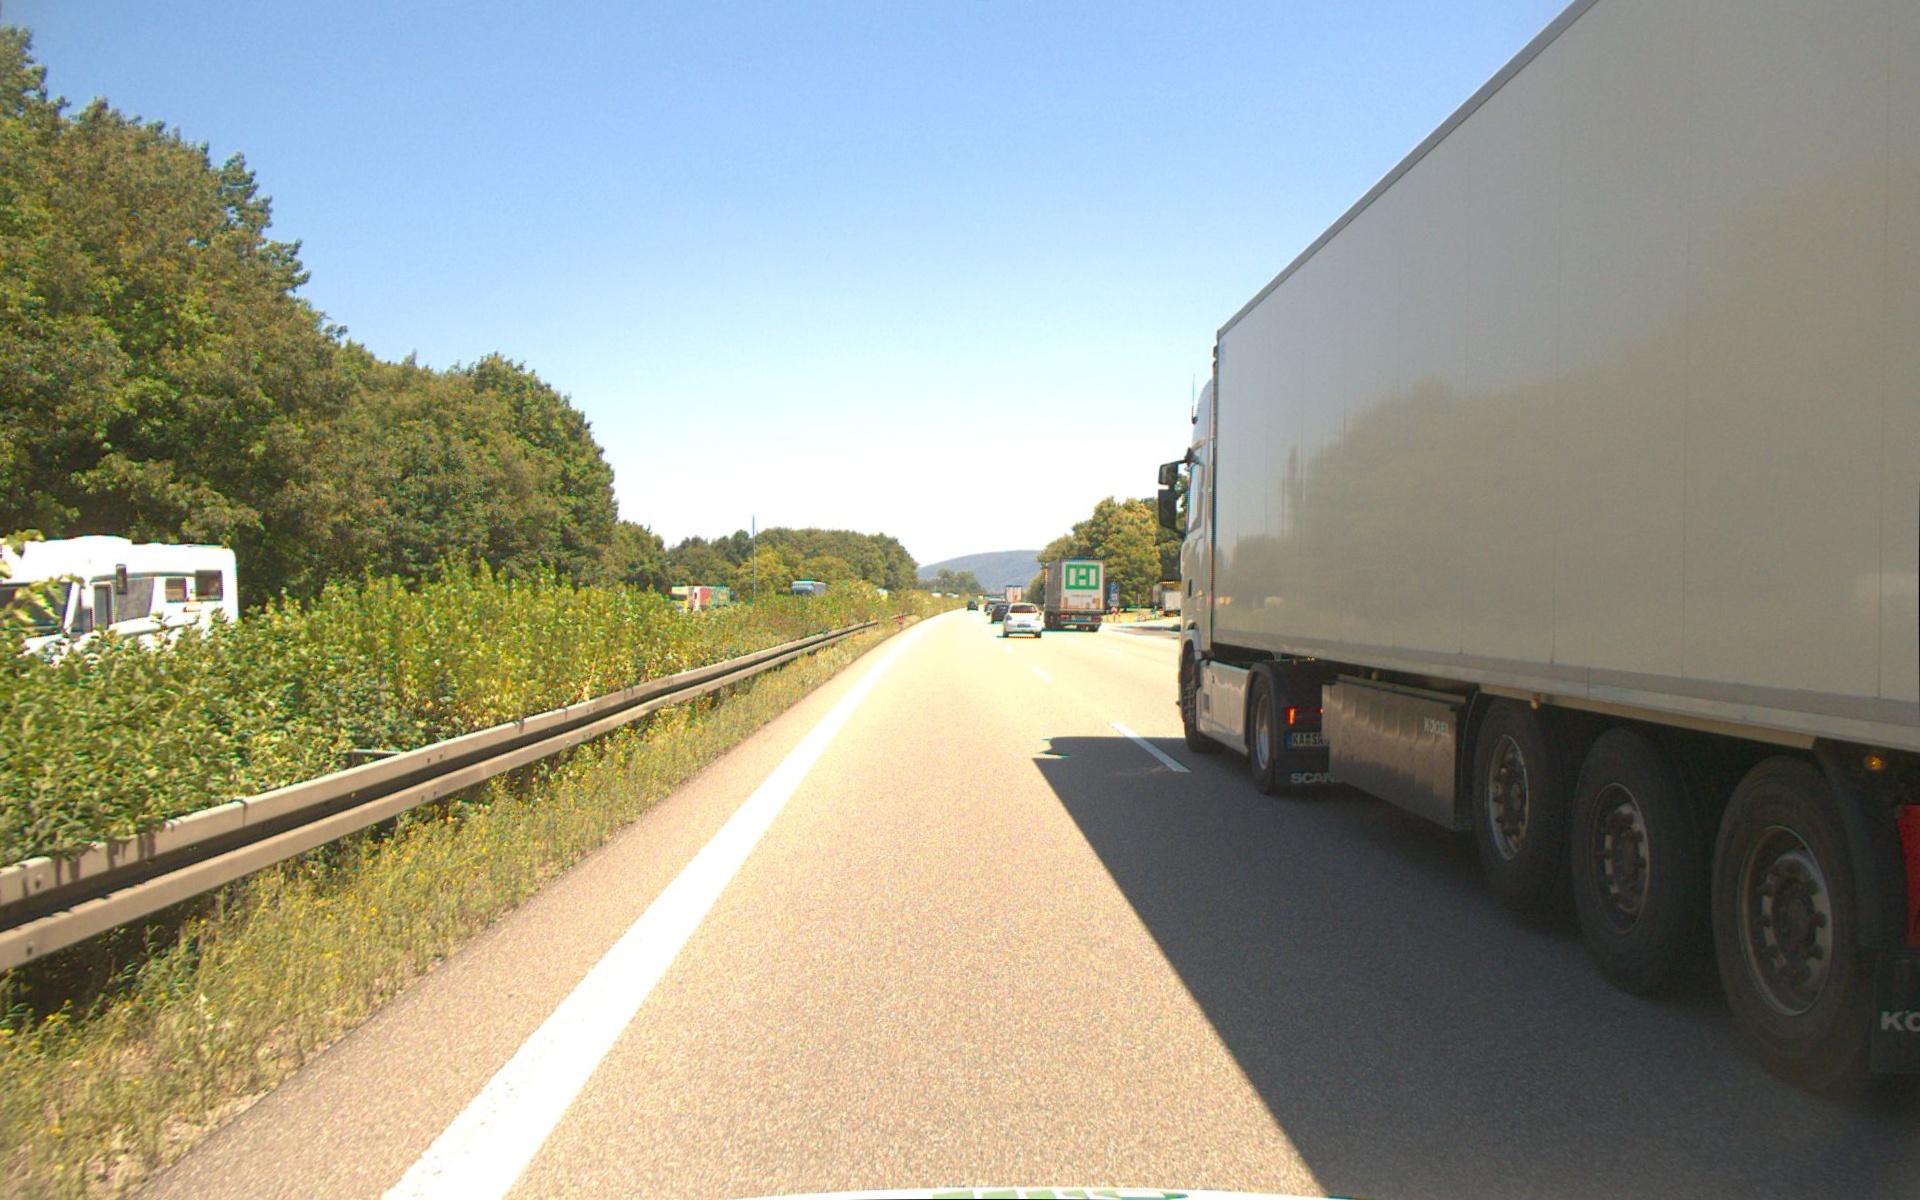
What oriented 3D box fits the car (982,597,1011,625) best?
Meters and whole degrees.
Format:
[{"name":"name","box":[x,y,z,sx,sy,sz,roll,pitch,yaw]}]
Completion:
[{"name":"car","box":[2.666,0.797,119.960,1.857,1.926,4.002,-1,0,4]}]

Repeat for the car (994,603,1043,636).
[{"name":"car","box":[2.611,0.873,74.299,1.776,1.429,3.313,0,0,-5]}]

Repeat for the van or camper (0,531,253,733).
[{"name":"van or camper","box":[-16.129,0.503,30.503,2.370,3.166,9.085,0,0,-1]}]

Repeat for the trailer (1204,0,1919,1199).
[{"name":"trailer","box":[3.886,-0.555,8.820,3.158,4.216,12.349,0,0,-1]}]

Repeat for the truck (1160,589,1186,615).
[{"name":"truck","box":[25.148,0.257,195.456,2.416,2.997,7.662,0,0,3]}]

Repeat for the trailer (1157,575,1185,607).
[{"name":"trailer","box":[27.285,-1.138,213.465,3.116,4.004,11.560,0,0,10]}]

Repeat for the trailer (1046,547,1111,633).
[{"name":"trailer","box":[6.833,-0.529,96.815,3.116,4.708,12.051,0,0,1]}]

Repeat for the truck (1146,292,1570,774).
[{"name":"truck","box":[3.766,-0.604,16.844,3.163,4.230,4.558,0,0,-1]}]

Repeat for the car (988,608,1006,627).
[{"name":"car","box":[4.222,2.005,188.891,1.844,2.049,3.999,0,0,-1]}]
